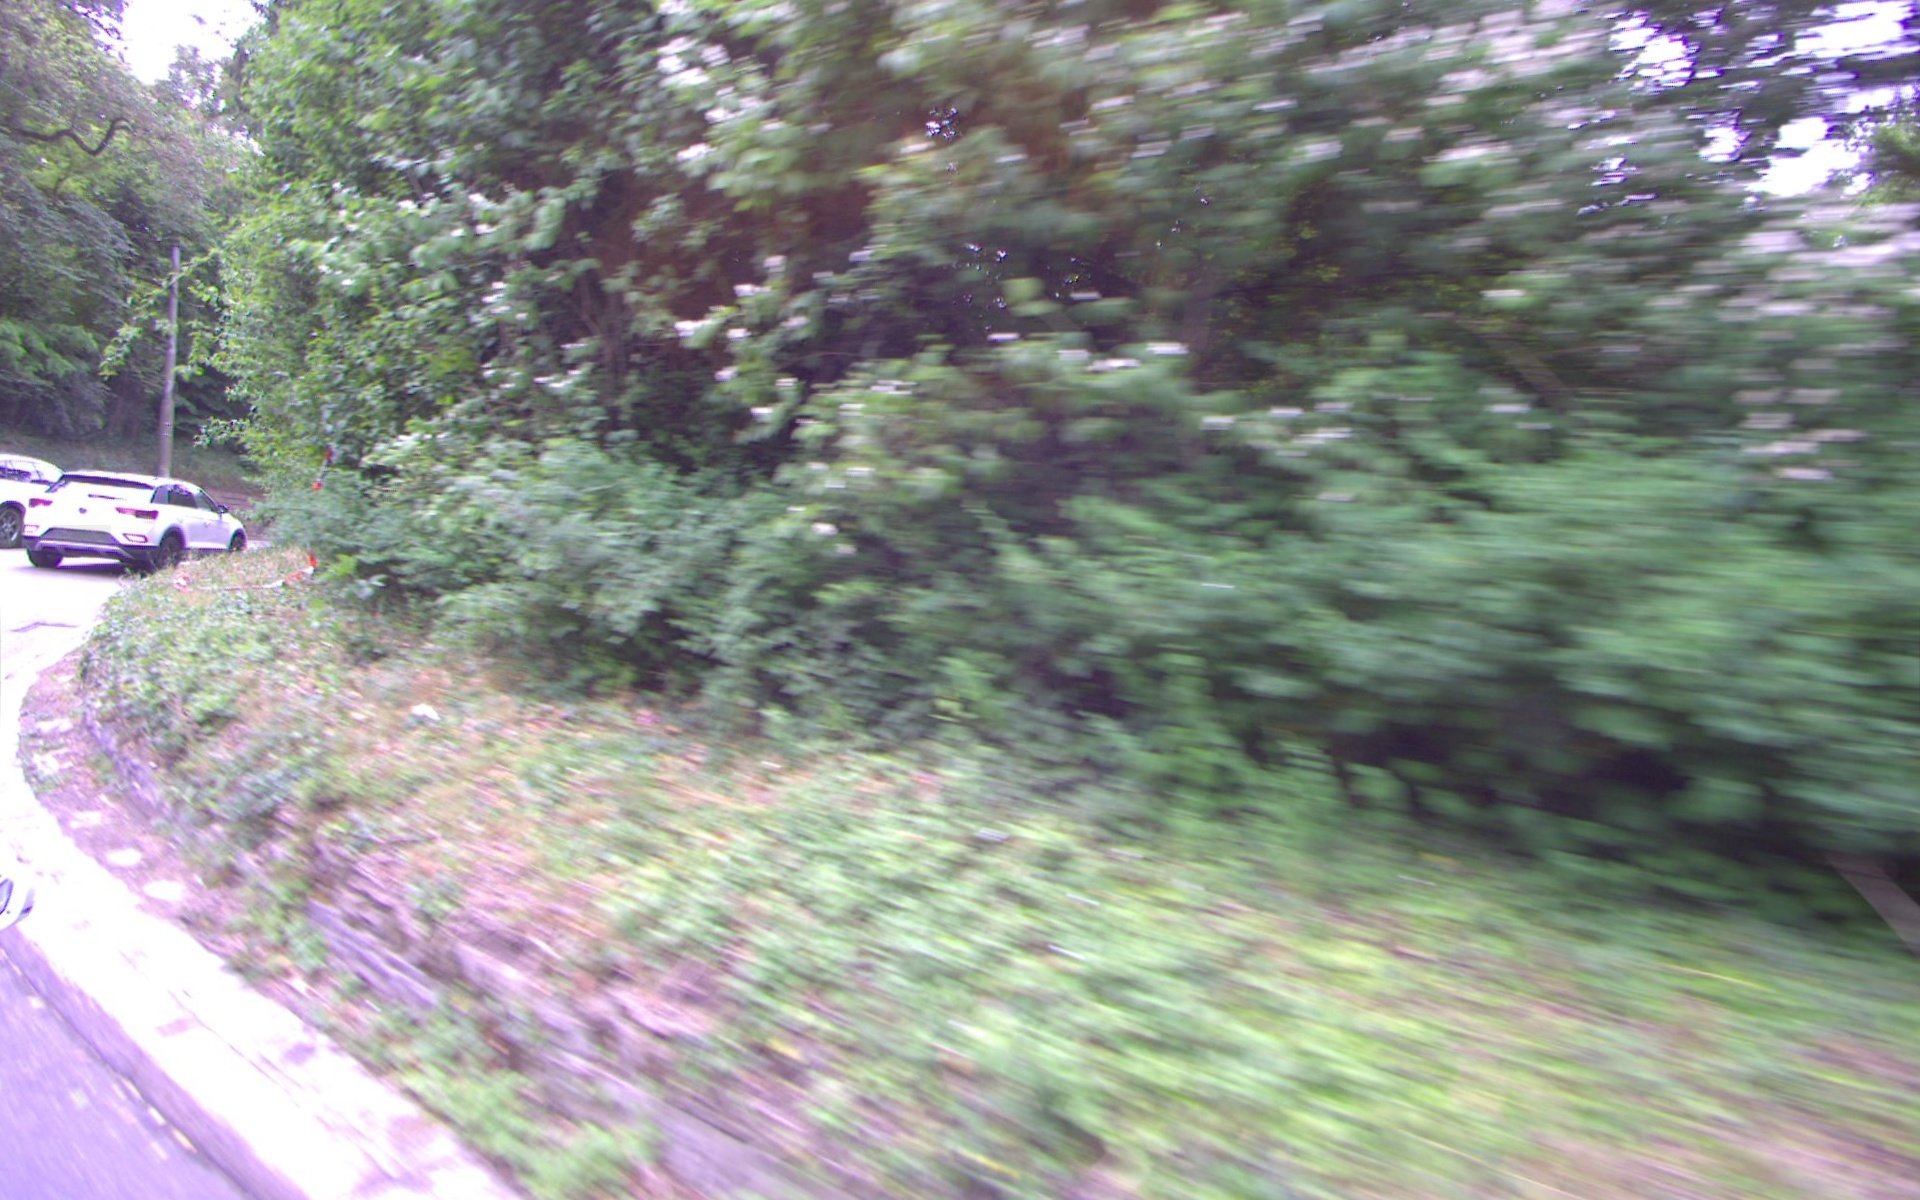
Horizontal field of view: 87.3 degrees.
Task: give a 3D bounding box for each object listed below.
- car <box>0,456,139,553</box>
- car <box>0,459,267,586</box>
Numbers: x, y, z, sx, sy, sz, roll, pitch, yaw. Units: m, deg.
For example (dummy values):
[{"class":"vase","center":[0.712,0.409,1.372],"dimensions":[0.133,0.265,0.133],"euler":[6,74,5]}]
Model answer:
[{"class":"car","center":[-17.620,-1.811,18.588],"dimensions":[1.835,1.626,4.655],"euler":[7,1,-14]},{"class":"car","center":[-13.515,-1.231,16.825],"dimensions":[1.734,1.572,4.320],"euler":[9,1,-16]}]
